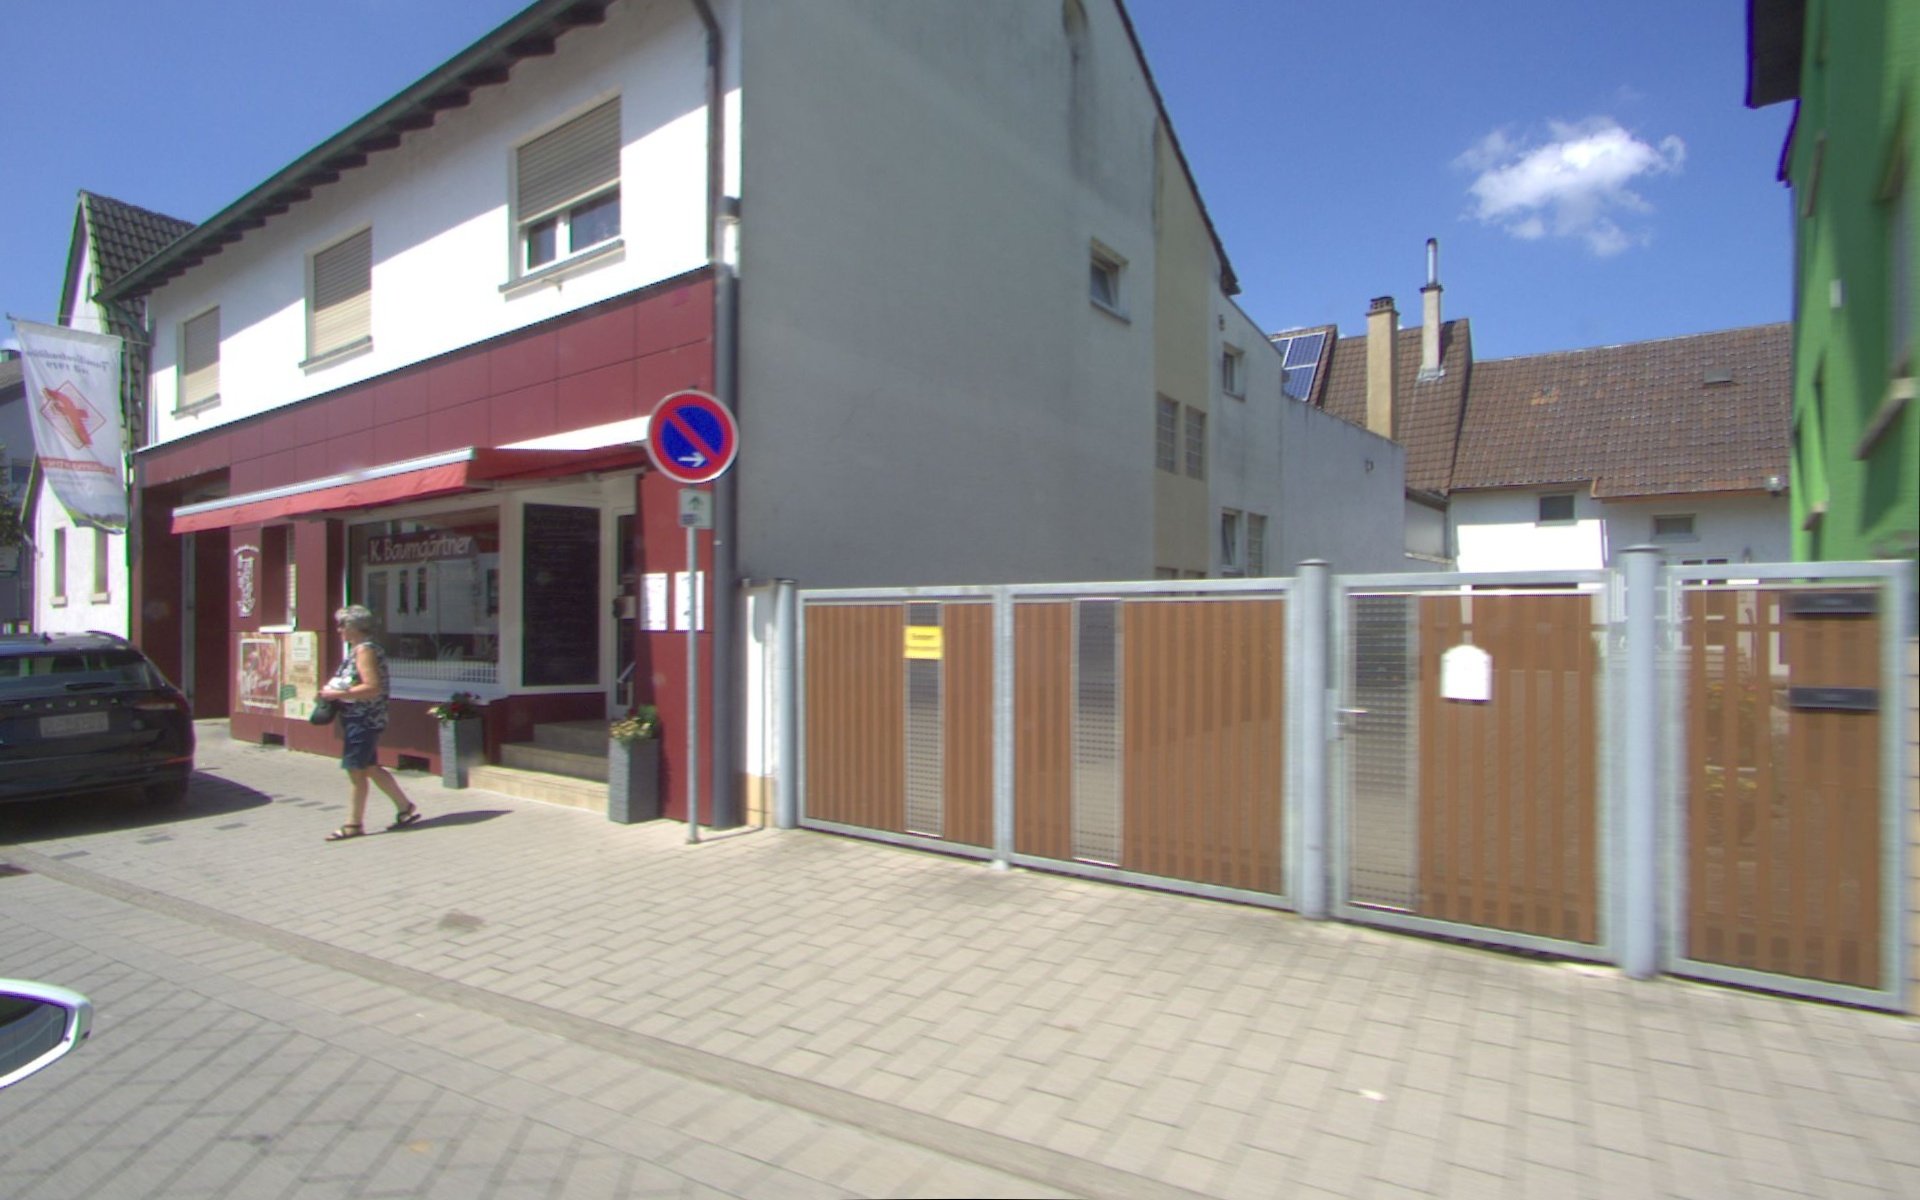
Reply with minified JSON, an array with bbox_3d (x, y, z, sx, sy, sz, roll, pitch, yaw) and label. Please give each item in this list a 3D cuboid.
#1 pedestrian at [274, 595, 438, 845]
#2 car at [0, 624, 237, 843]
[{"bbox_3d":[-4.346,0.815,7.218,0.739,1.662,0.727,-1,2,37],"label":"pedestrian"},{"bbox_3d":[-8.159,0.977,8.722,4.529,1.478,1.850,-1,0,39],"label":"car"}]
